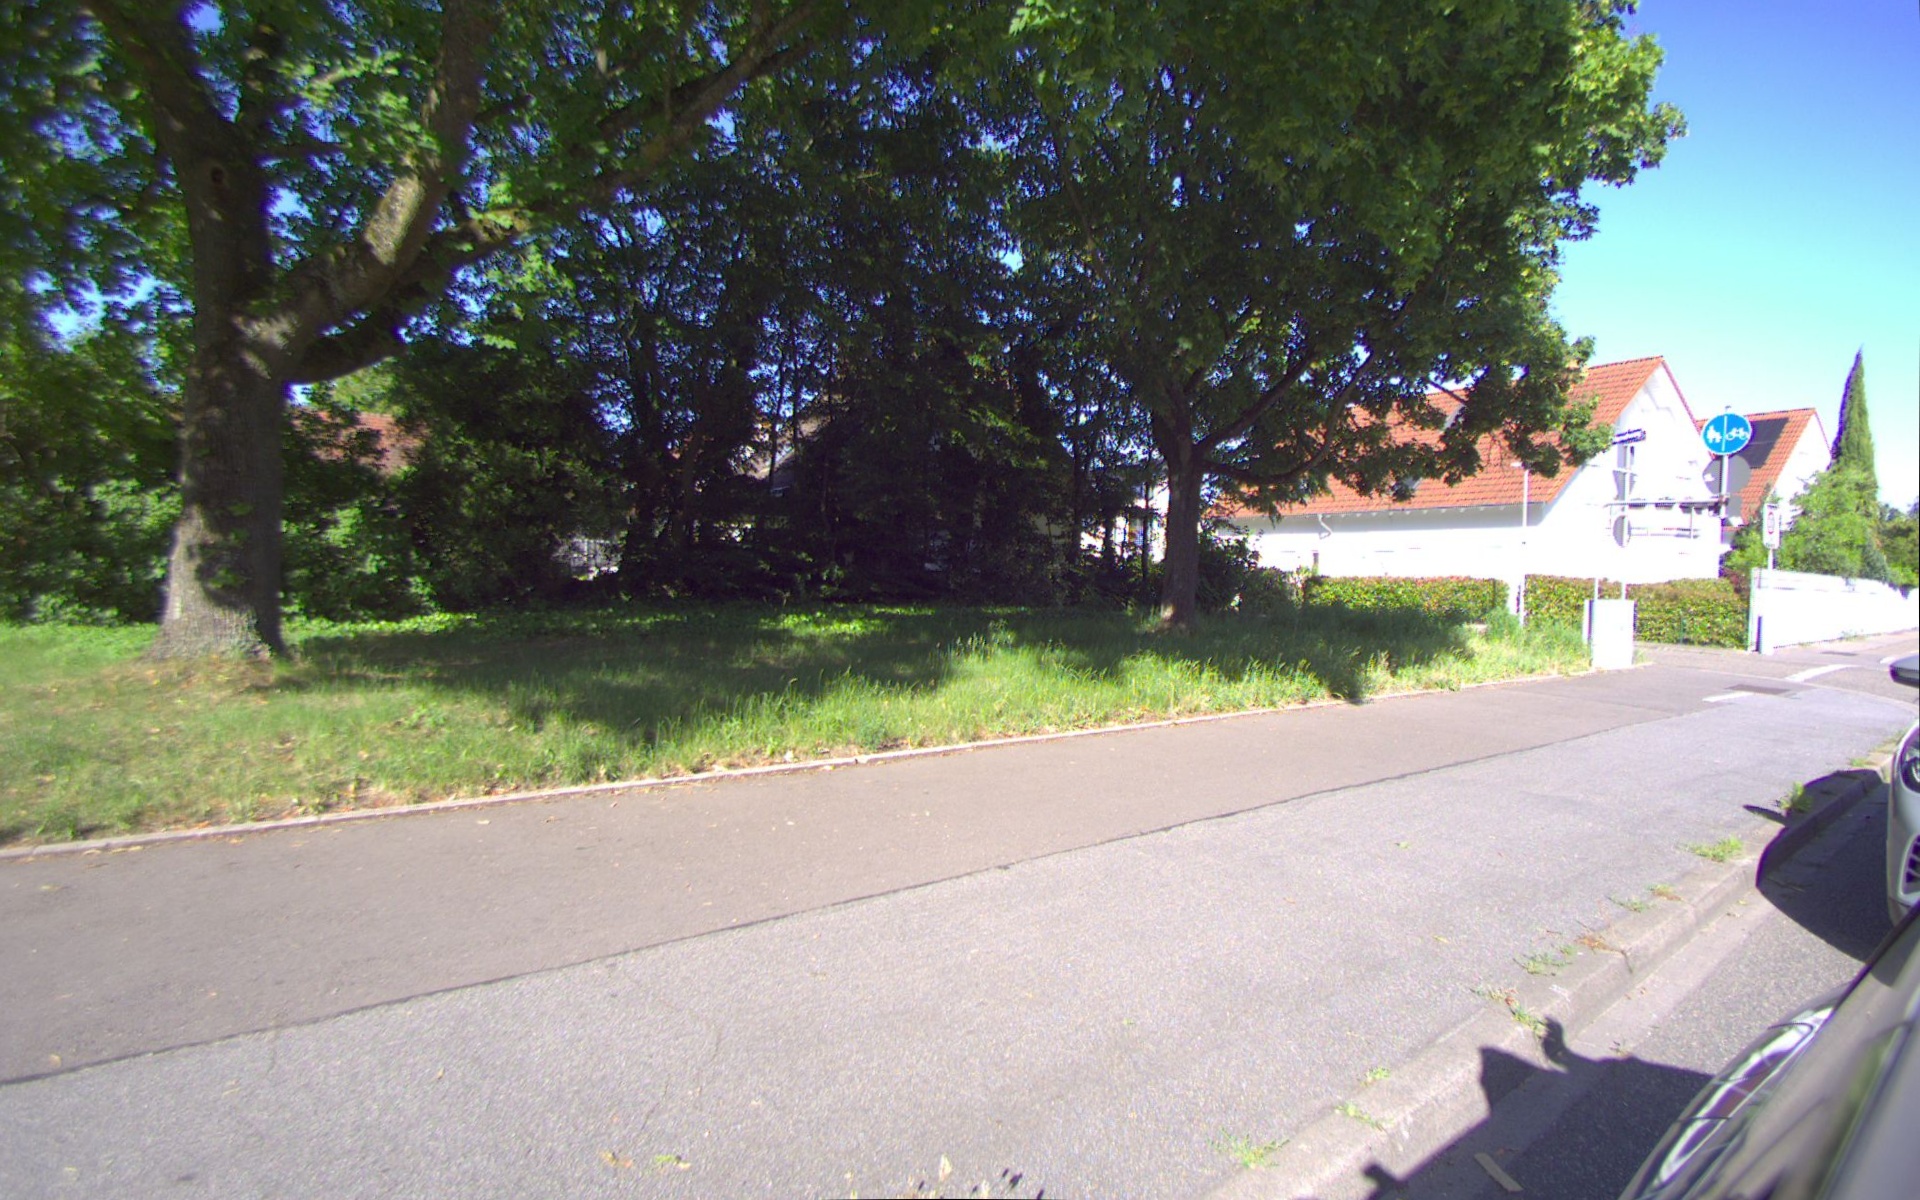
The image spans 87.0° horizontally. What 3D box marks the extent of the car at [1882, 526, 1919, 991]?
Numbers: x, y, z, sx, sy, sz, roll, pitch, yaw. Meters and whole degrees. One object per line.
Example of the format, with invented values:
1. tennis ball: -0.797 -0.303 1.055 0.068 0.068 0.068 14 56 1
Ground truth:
1. car: 5.642 0.605 4.430 4.133 1.710 1.857 0 3 -41
